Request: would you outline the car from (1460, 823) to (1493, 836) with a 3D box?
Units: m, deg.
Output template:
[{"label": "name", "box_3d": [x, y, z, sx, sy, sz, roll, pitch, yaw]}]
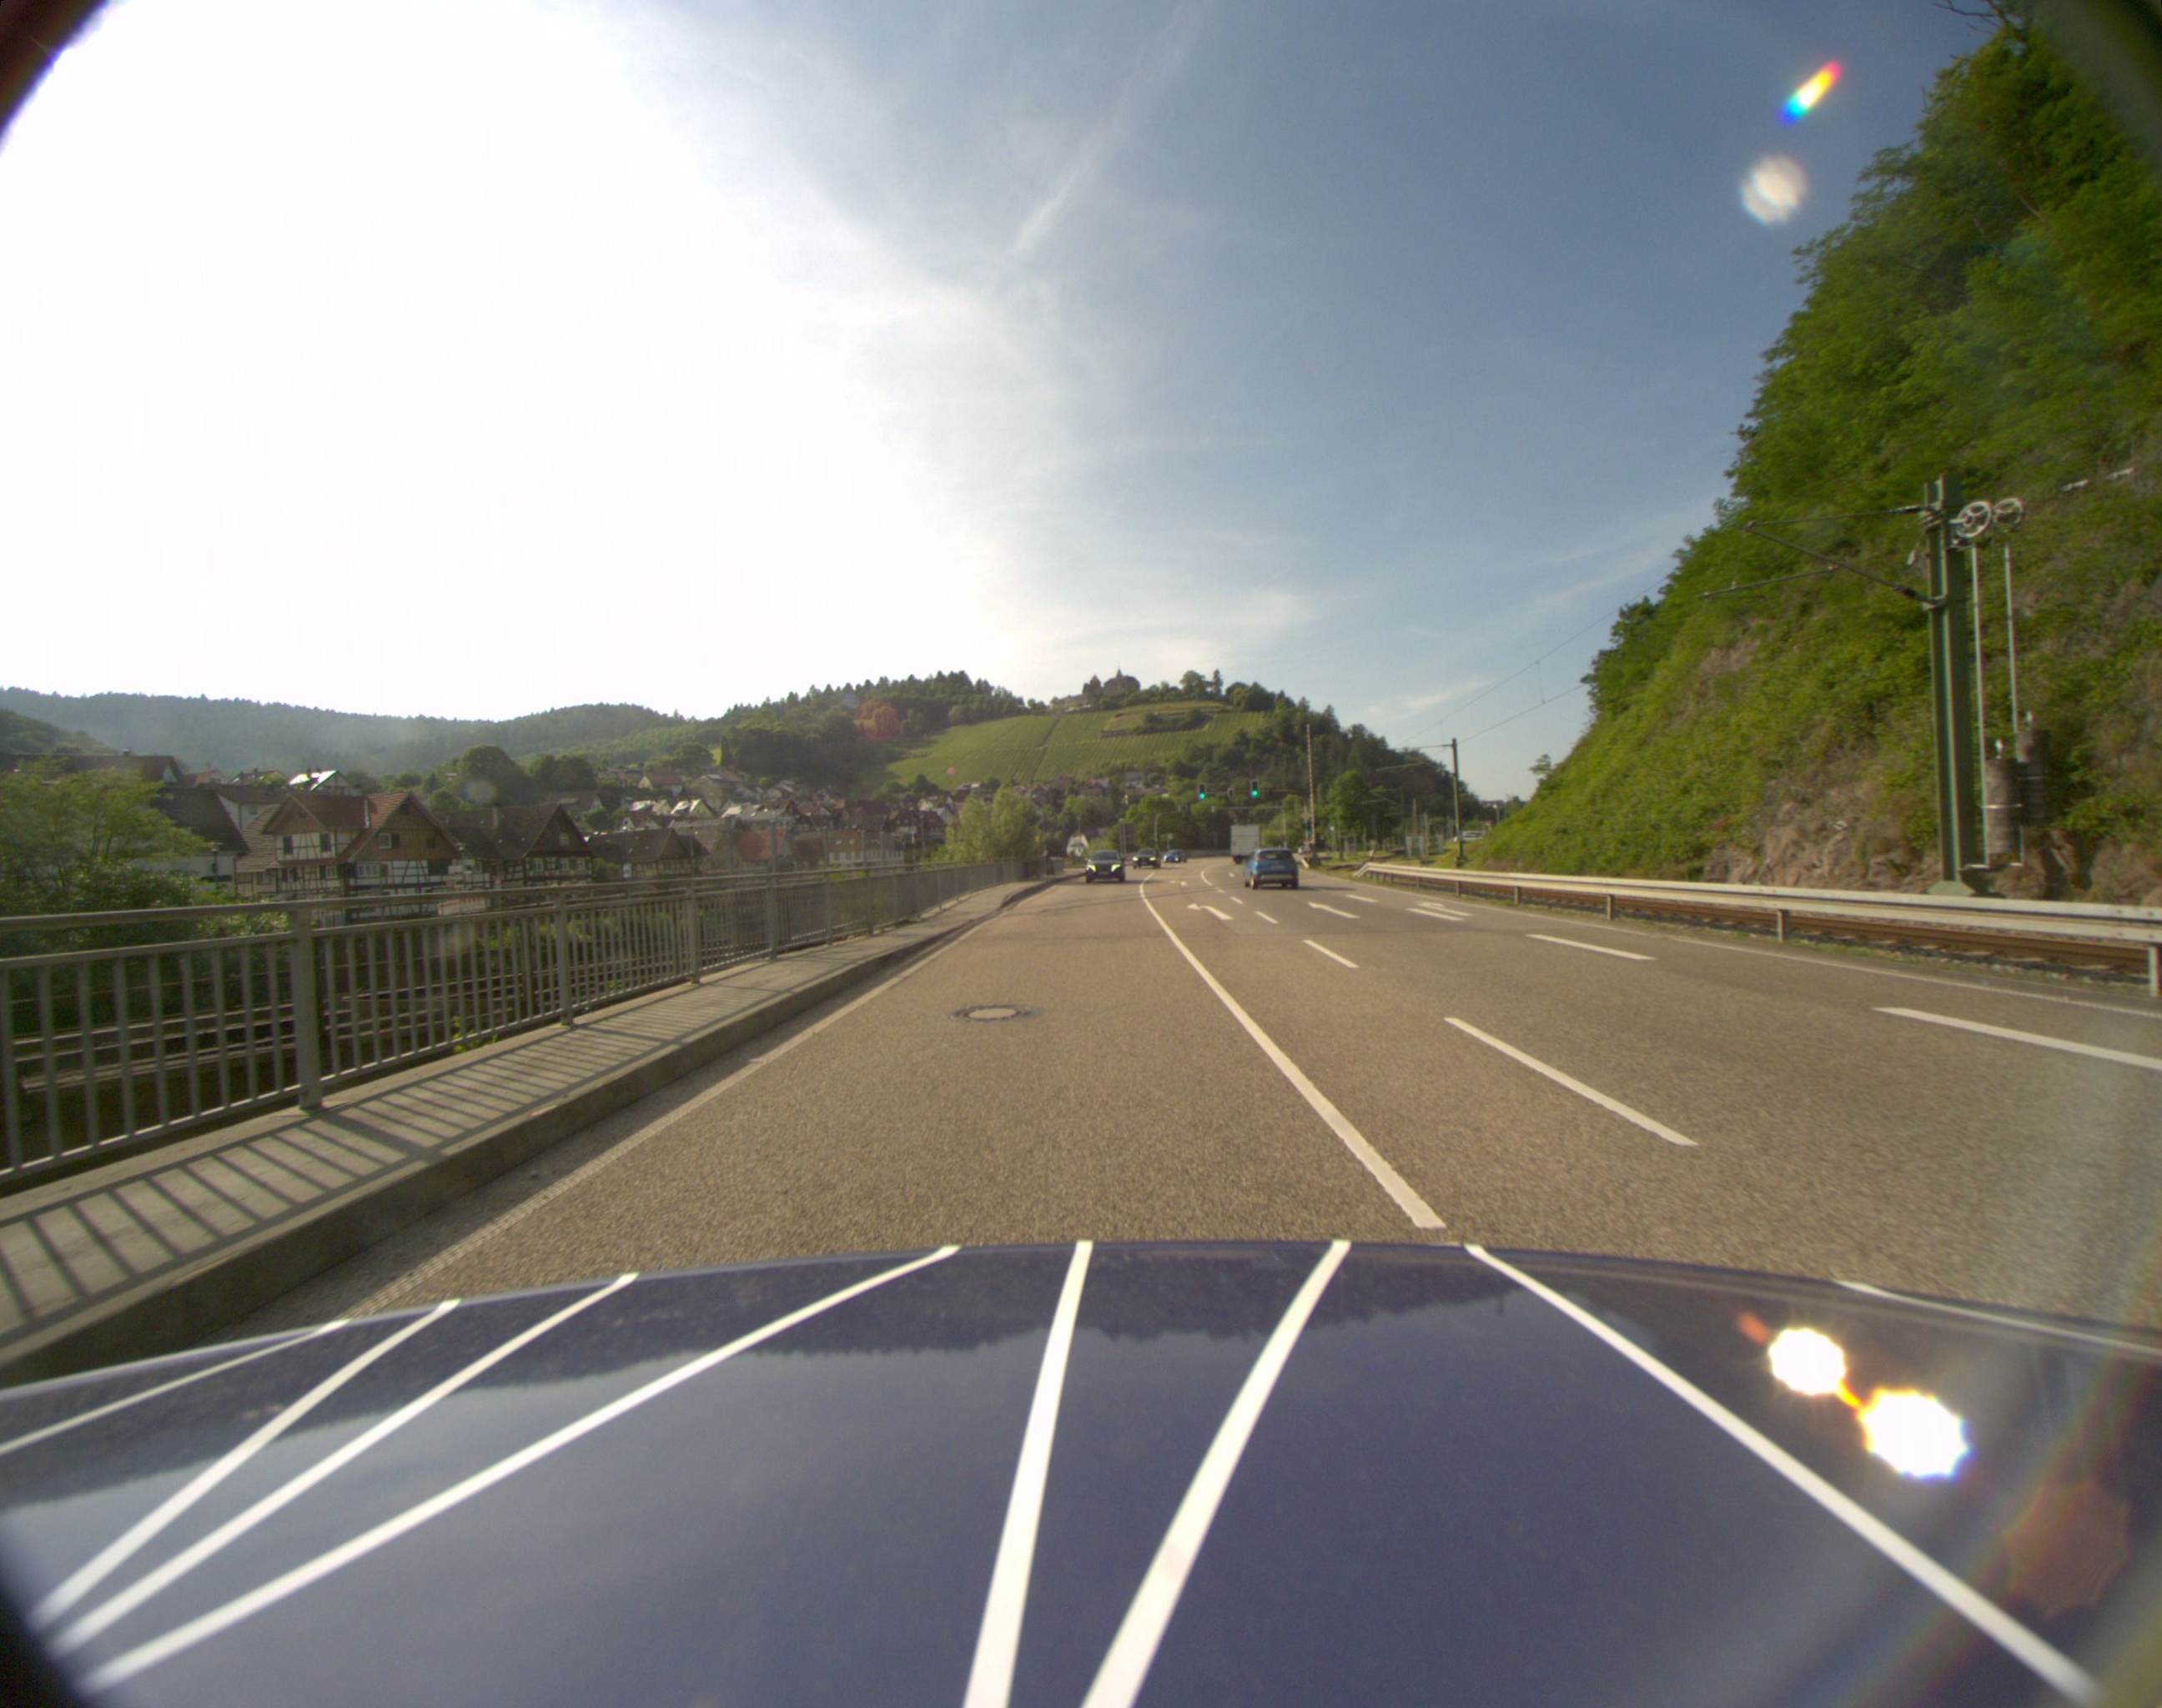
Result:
[{"label": "car", "box_3d": [56.743, -3.526, 109.001, 3.989, 1.740, 1.643, -1, 1, 32]}]

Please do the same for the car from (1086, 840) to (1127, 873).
[{"label": "car", "box_3d": [1.358, 0.114, 38.939, 1.862, 1.576, 4.001, 0, 0, 5]}]

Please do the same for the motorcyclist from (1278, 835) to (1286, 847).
[{"label": "motorcyclist", "box_3d": [29.374, -1.857, 111.142, 1.007, 1.705, 0.867, -1, 1, 27]}]

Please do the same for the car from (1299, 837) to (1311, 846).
[{"label": "car", "box_3d": [41.537, -2.356, 140.904, 1.694, 1.647, 4.177, -2, 1, 23]}]

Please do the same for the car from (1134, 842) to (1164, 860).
[{"label": "car", "box_3d": [5.650, -0.269, 62.599, 1.997, 1.384, 4.003, -3, 0, 12]}]

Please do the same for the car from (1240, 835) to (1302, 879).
[{"label": "car", "box_3d": [7.425, 0.101, 30.080, 1.722, 1.561, 4.136, -2, 0, 5]}]

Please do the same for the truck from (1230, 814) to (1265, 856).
[{"label": "truck", "box_3d": [16.617, -1.889, 75.373, 2.901, 3.777, 8.902, -2, 1, 15]}]

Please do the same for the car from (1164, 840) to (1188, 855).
[{"label": "car", "box_3d": [10.546, -0.724, 84.074, 1.865, 1.483, 4.005, -1, 0, 18]}]
